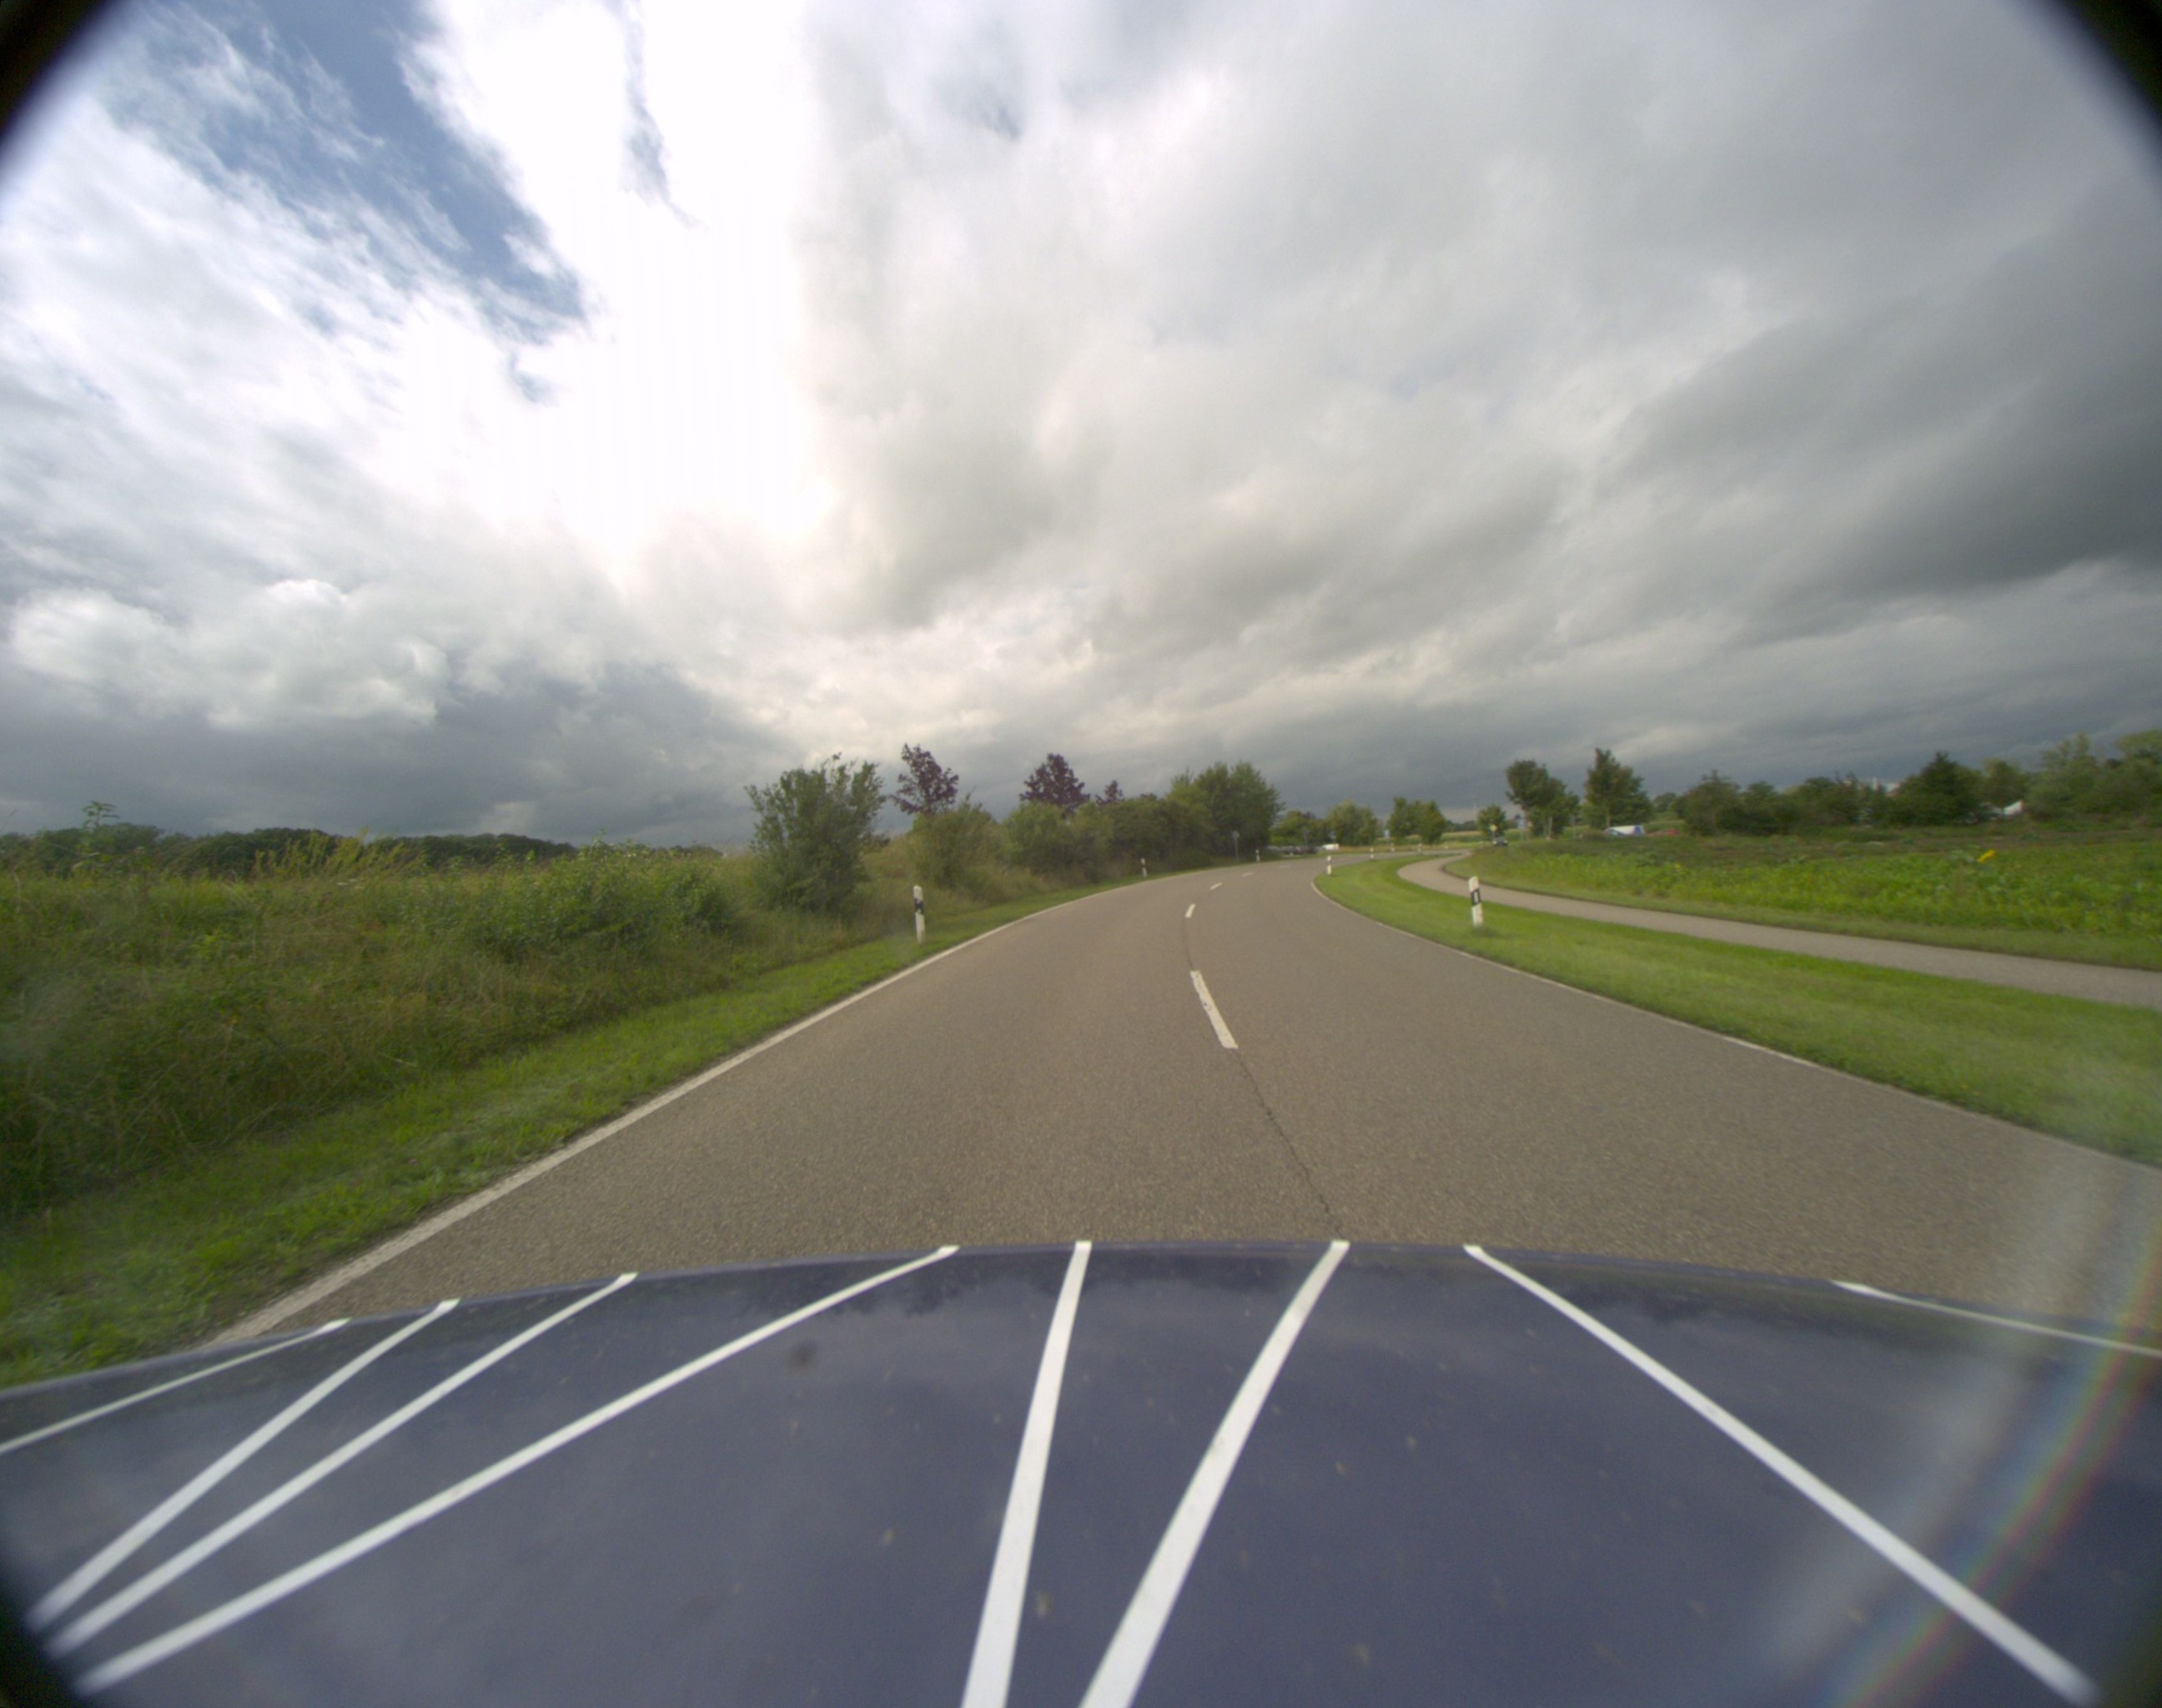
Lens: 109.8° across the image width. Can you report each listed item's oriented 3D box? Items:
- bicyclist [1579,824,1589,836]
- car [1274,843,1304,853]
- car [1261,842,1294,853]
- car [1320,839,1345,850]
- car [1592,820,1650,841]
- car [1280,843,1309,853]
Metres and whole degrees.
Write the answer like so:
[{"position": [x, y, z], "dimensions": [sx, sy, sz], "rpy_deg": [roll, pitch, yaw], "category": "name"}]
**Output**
[{"position": [68.933, -3.280, 104.076], "dimensions": [1.057, 1.557, 0.831], "rpy_deg": [-3, 1, -41], "category": "bicyclist"}, {"position": [33.129, -0.950, 121.067], "dimensions": [4.155, 1.406, 2.003], "rpy_deg": [-2, 0, 28], "category": "car"}, {"position": [30.005, -0.984, 115.965], "dimensions": [4.481, 1.572, 2.003], "rpy_deg": [-2, 0, 28], "category": "car"}, {"position": [46.590, -1.820, 140.976], "dimensions": [3.989, 1.849, 2.004], "rpy_deg": [-2, 0, 32], "category": "car"}, {"position": [58.883, -2.588, 82.895], "dimensions": [4.897, 2.002, 2.060], "rpy_deg": [-3, 0, 44], "category": "car"}, {"position": [34.886, -0.974, 124.128], "dimensions": [3.999, 1.496, 2.055], "rpy_deg": [-2, 0, 35], "category": "car"}]
